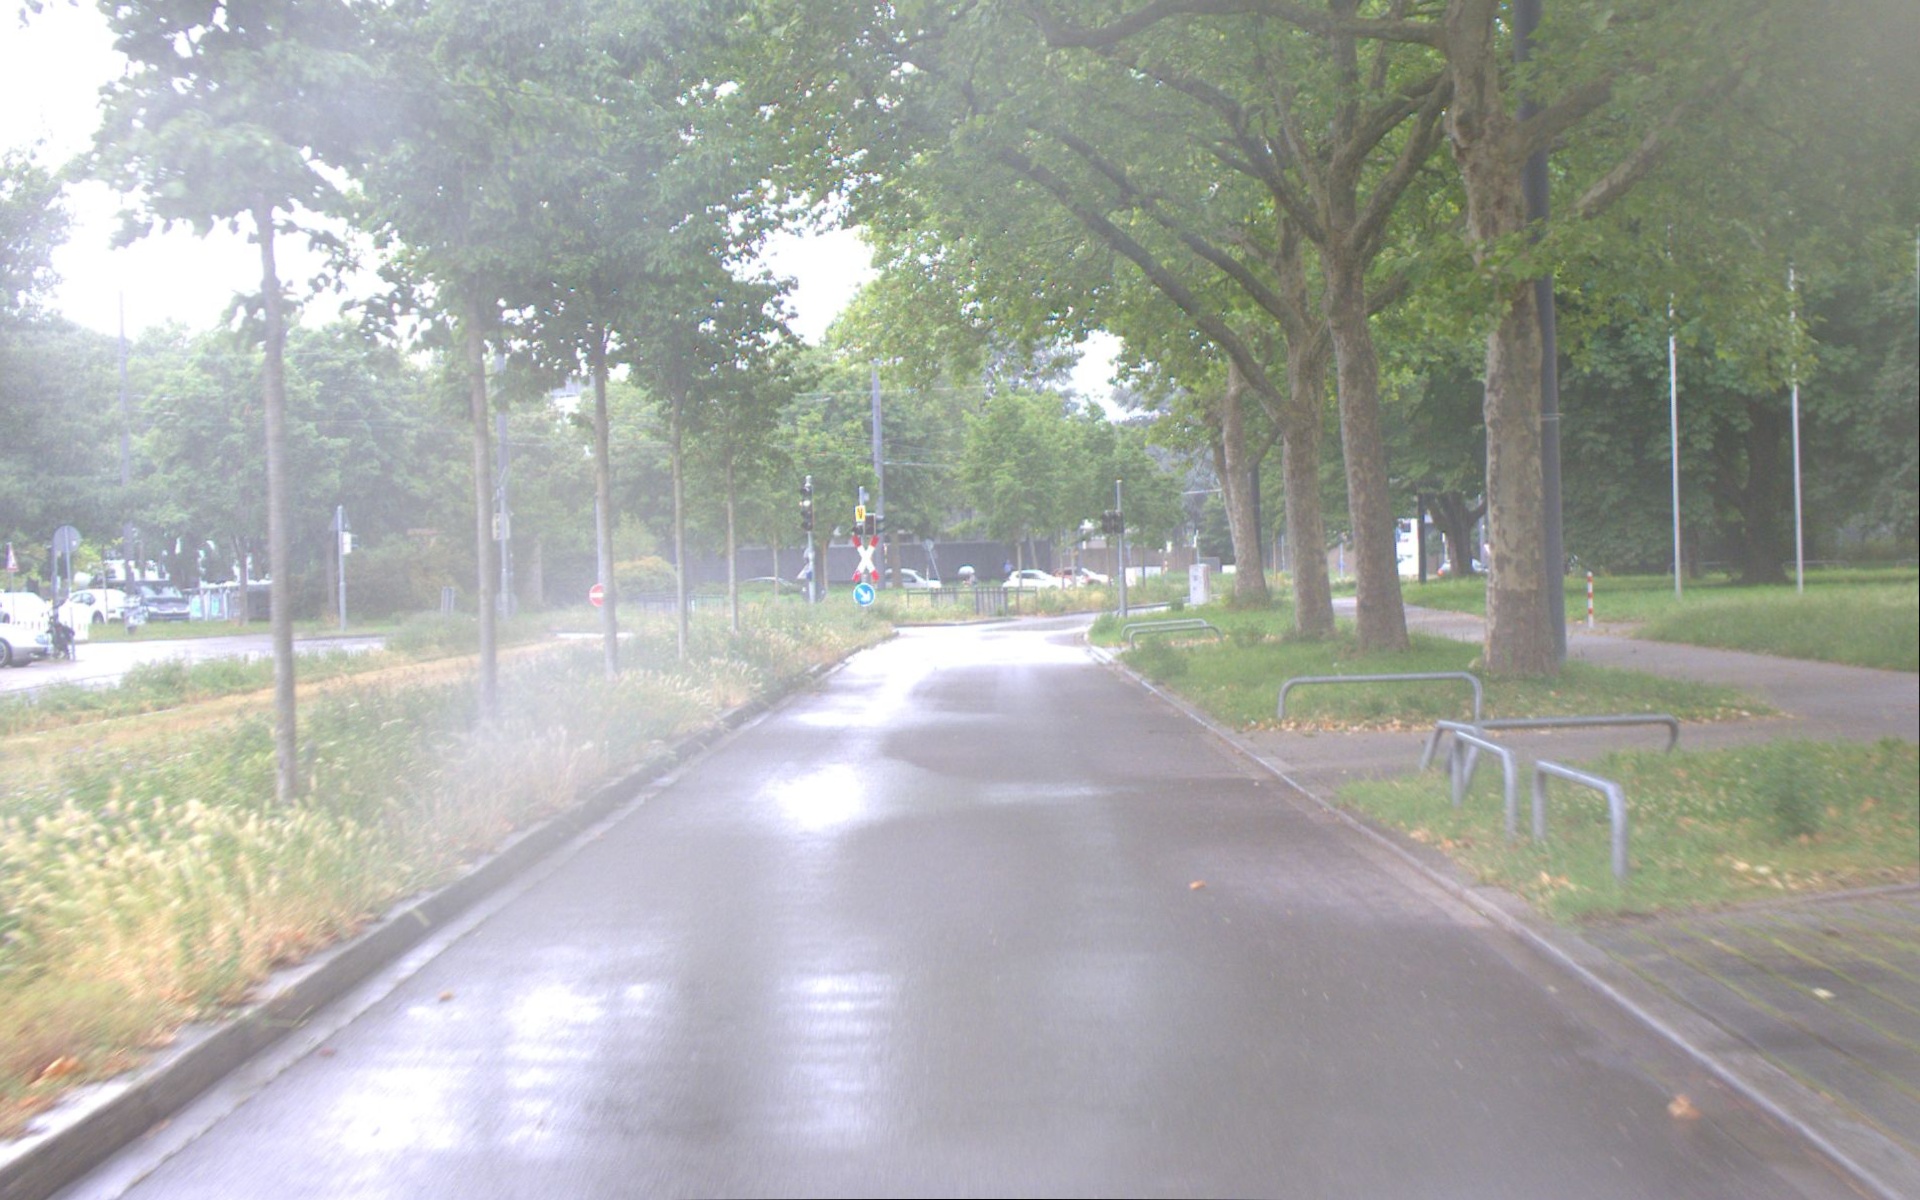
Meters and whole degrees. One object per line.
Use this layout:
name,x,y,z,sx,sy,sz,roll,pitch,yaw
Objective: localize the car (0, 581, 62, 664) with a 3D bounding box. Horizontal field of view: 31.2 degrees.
car,-20.234,0.504,68.776,3.986,1.611,2.000,-2,1,-2
